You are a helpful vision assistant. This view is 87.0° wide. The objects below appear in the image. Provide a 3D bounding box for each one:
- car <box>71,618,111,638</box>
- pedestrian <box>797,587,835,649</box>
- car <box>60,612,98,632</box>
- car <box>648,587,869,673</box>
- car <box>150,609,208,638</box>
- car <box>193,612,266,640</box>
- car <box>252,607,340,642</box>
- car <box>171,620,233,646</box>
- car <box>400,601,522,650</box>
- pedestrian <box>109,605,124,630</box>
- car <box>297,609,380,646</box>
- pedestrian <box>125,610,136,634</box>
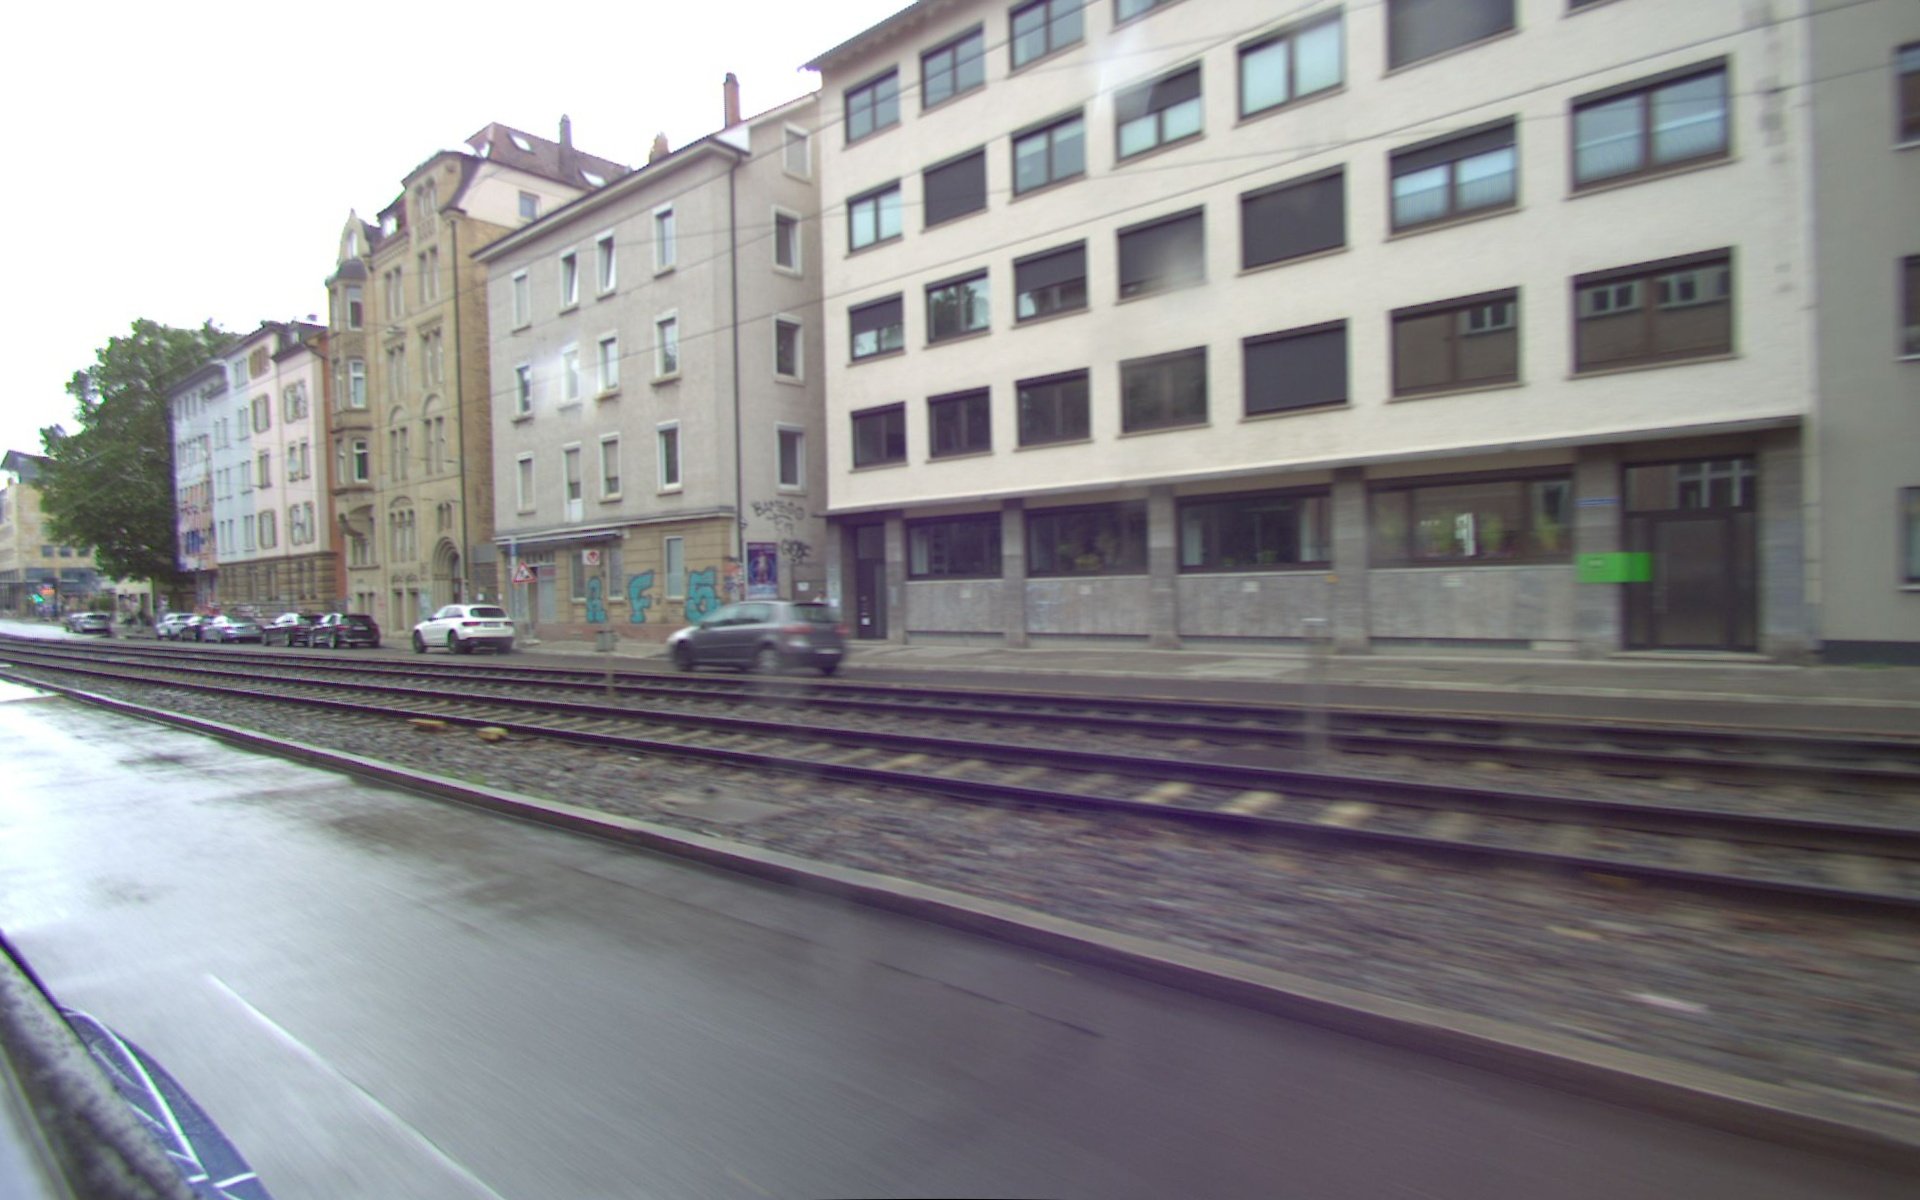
[{"bbox_3d":[-67.676,2.173,78.780,4.226,1.553,1.819,-1,-1,42],"label":"car"},{"bbox_3d":[-3.866,0.480,27.127,0.798,1.624,0.541,-1,3,43],"label":"pedestrian"},{"bbox_3d":[-71.227,1.799,81.809,4.226,1.553,1.819,-1,-1,42],"label":"car"},{"bbox_3d":[-4.062,0.594,20.113,4.342,1.548,1.921,-1,-2,37],"label":"car"},{"bbox_3d":[-46.211,1.390,59.855,4.224,1.617,1.820,-1,-1,39],"label":"car"},{"bbox_3d":[-37.903,1.351,52.484,5.020,1.408,1.972,-1,-3,41],"label":"car"},{"bbox_3d":[-29.931,1.120,45.556,5.018,1.467,1.973,-1,-3,40],"label":"car"},{"bbox_3d":[-42.081,1.807,56.133,4.262,1.408,1.820,-1,-1,39],"label":"car"},{"bbox_3d":[-17.038,0.872,34.454,4.746,1.548,1.973,-1,-3,40],"label":"car"},{"bbox_3d":[-66.439,1.372,79.696,0.536,1.883,0.798,-2,-1,44],"label":"pedestrian"},{"bbox_3d":[-25.874,1.153,42.084,4.167,1.467,1.718,-1,-3,40],"label":"car"},{"bbox_3d":[-65.914,1.751,80.419,0.536,1.883,0.642,-2,-1,44],"label":"pedestrian"}]
